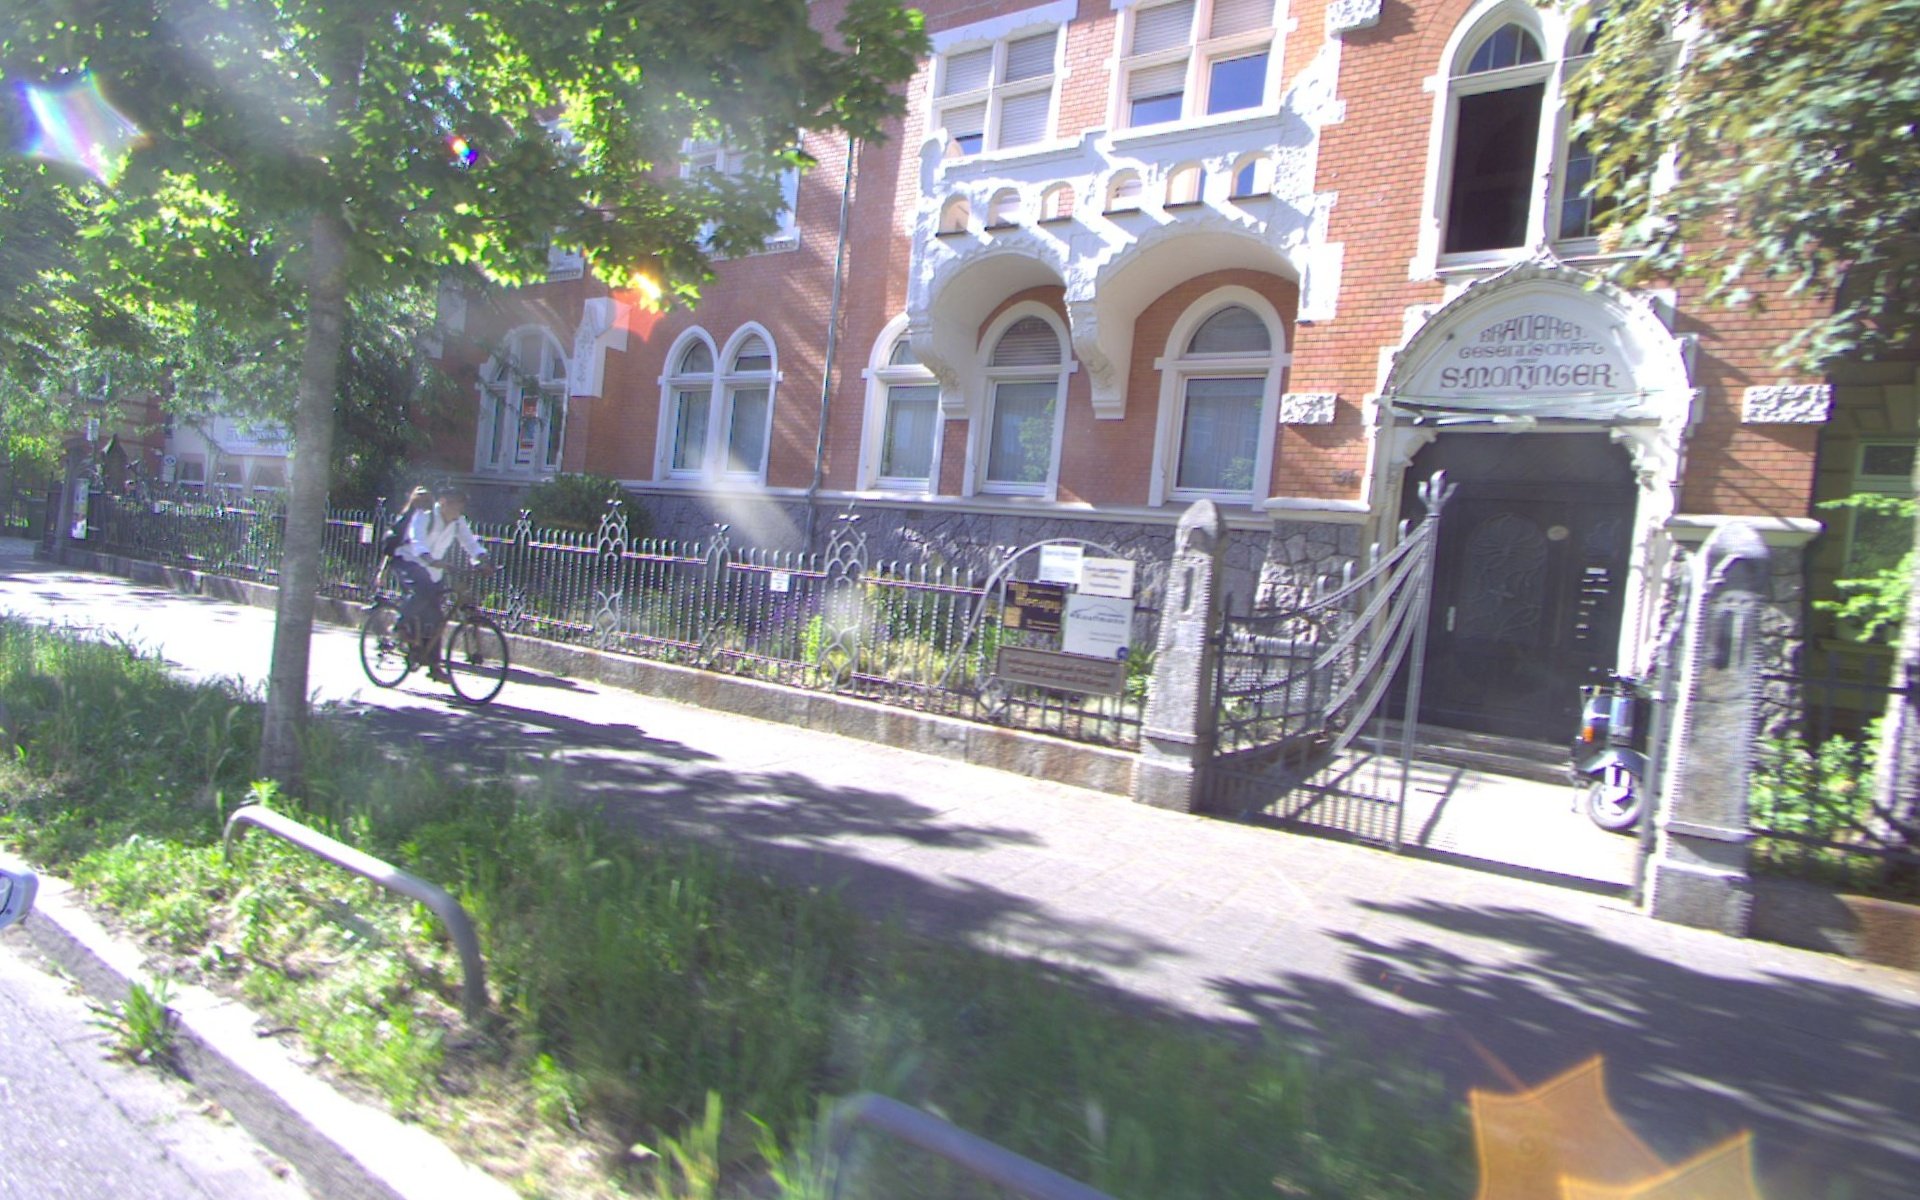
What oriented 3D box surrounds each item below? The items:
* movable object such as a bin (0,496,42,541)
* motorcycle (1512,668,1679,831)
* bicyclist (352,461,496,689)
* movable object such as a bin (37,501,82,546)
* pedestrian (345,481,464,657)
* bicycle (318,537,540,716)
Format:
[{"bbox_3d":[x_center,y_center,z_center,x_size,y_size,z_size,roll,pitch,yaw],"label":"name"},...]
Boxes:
[{"bbox_3d":[-22.019,-1.909,23.544,0.656,0.978,0.624,7,3,32],"label":"movable object such as a bin"},{"bbox_3d":[5.025,1.098,7.893,0.770,1.045,1.871,5,1,41],"label":"motorcycle"},{"bbox_3d":[-4.315,-0.206,8.103,0.806,1.714,0.620,7,4,29],"label":"bicyclist"},{"bbox_3d":[-21.607,-1.832,24.131,0.656,0.978,0.624,7,3,32],"label":"movable object such as a bin"},{"bbox_3d":[-5.598,-0.311,10.145,0.807,1.681,0.694,6,3,32],"label":"pedestrian"},{"bbox_3d":[-4.306,0.173,8.112,1.886,1.193,0.616,7,4,29],"label":"bicycle"}]
